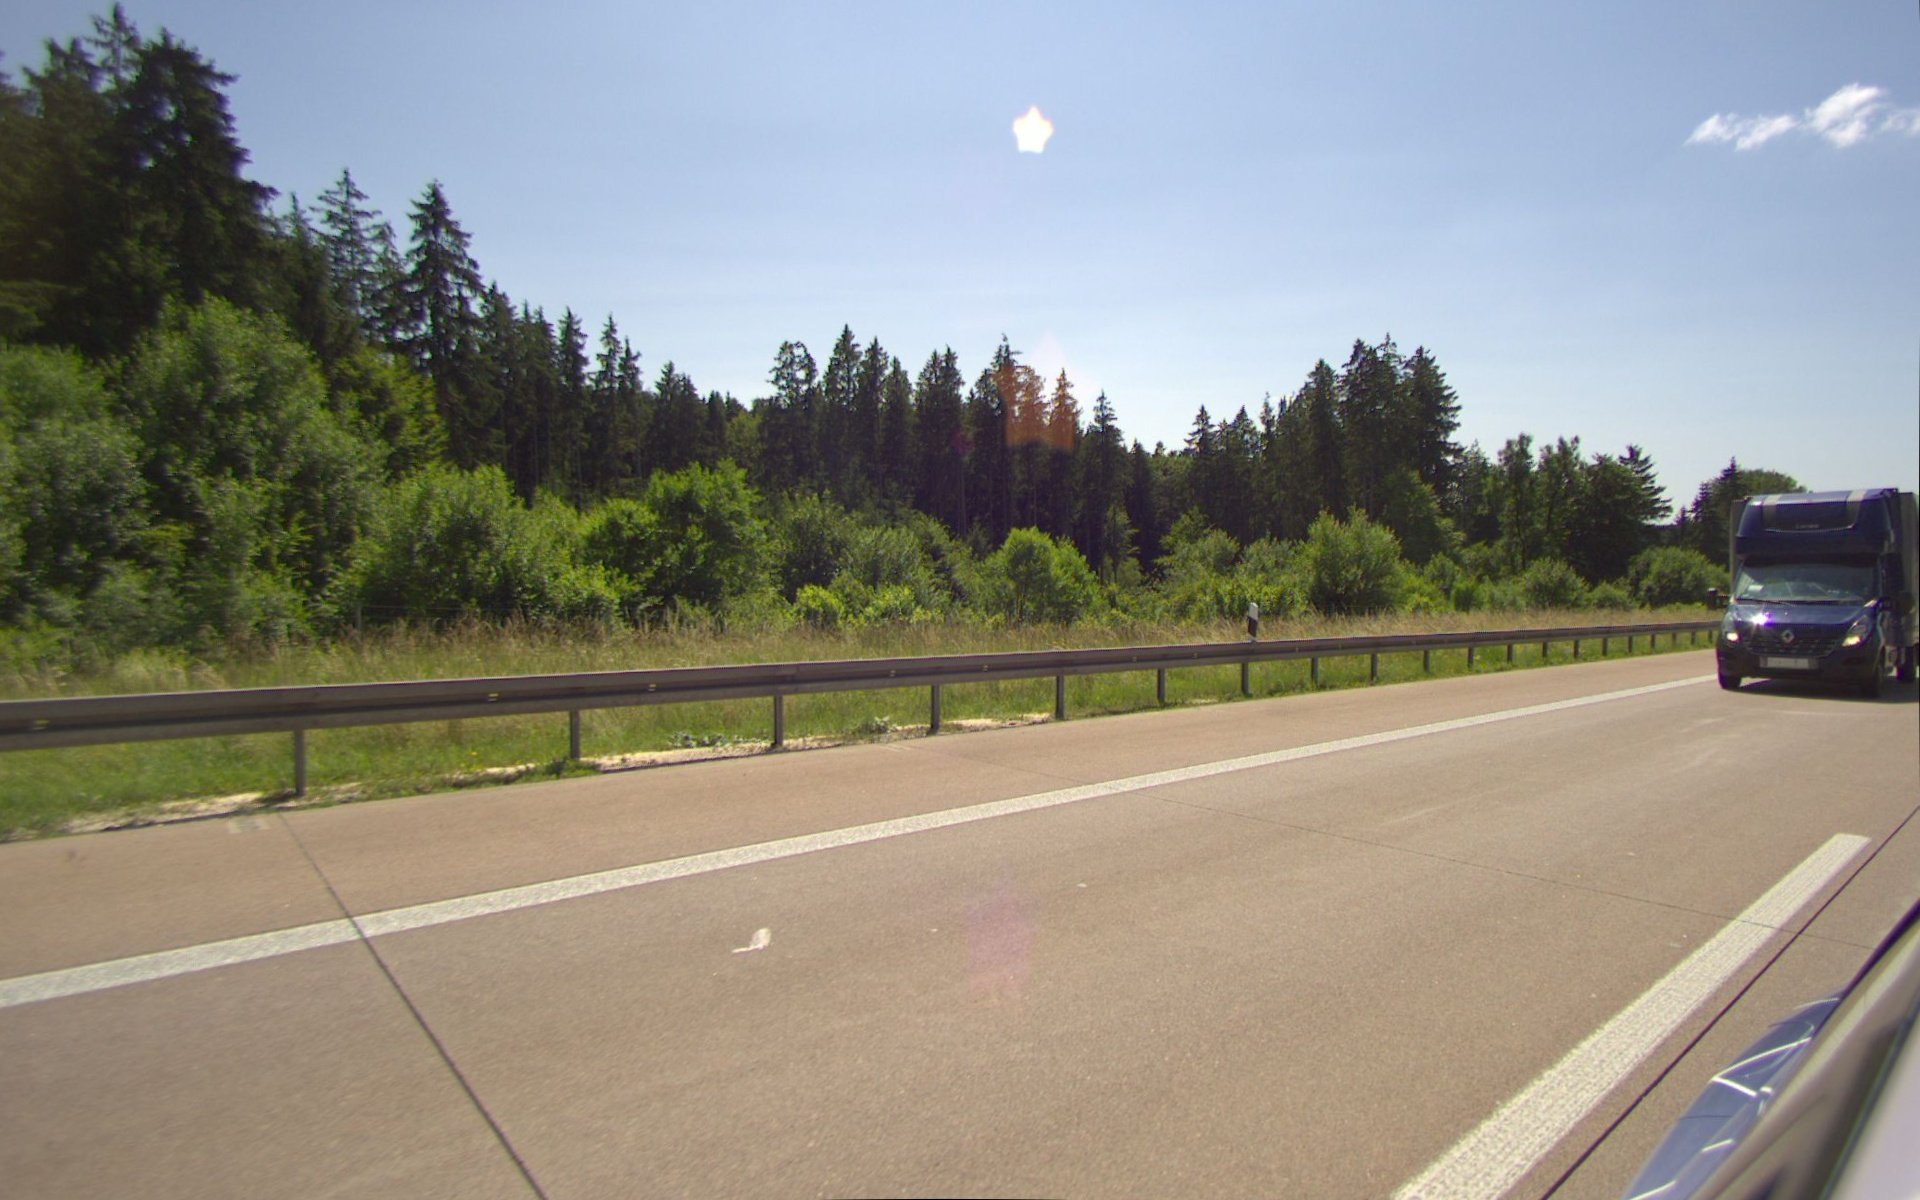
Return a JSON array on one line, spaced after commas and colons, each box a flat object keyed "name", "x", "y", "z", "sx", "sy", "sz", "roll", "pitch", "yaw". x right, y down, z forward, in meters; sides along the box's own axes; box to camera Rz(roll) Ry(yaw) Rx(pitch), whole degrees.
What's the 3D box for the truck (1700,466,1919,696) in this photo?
[{"name": "truck", "x": 15.627, "y": -0.296, "z": 17.848, "sx": 7.648, "sy": 3.259, "sz": 2.506, "roll": 0, "pitch": 1, "yaw": -41}]
